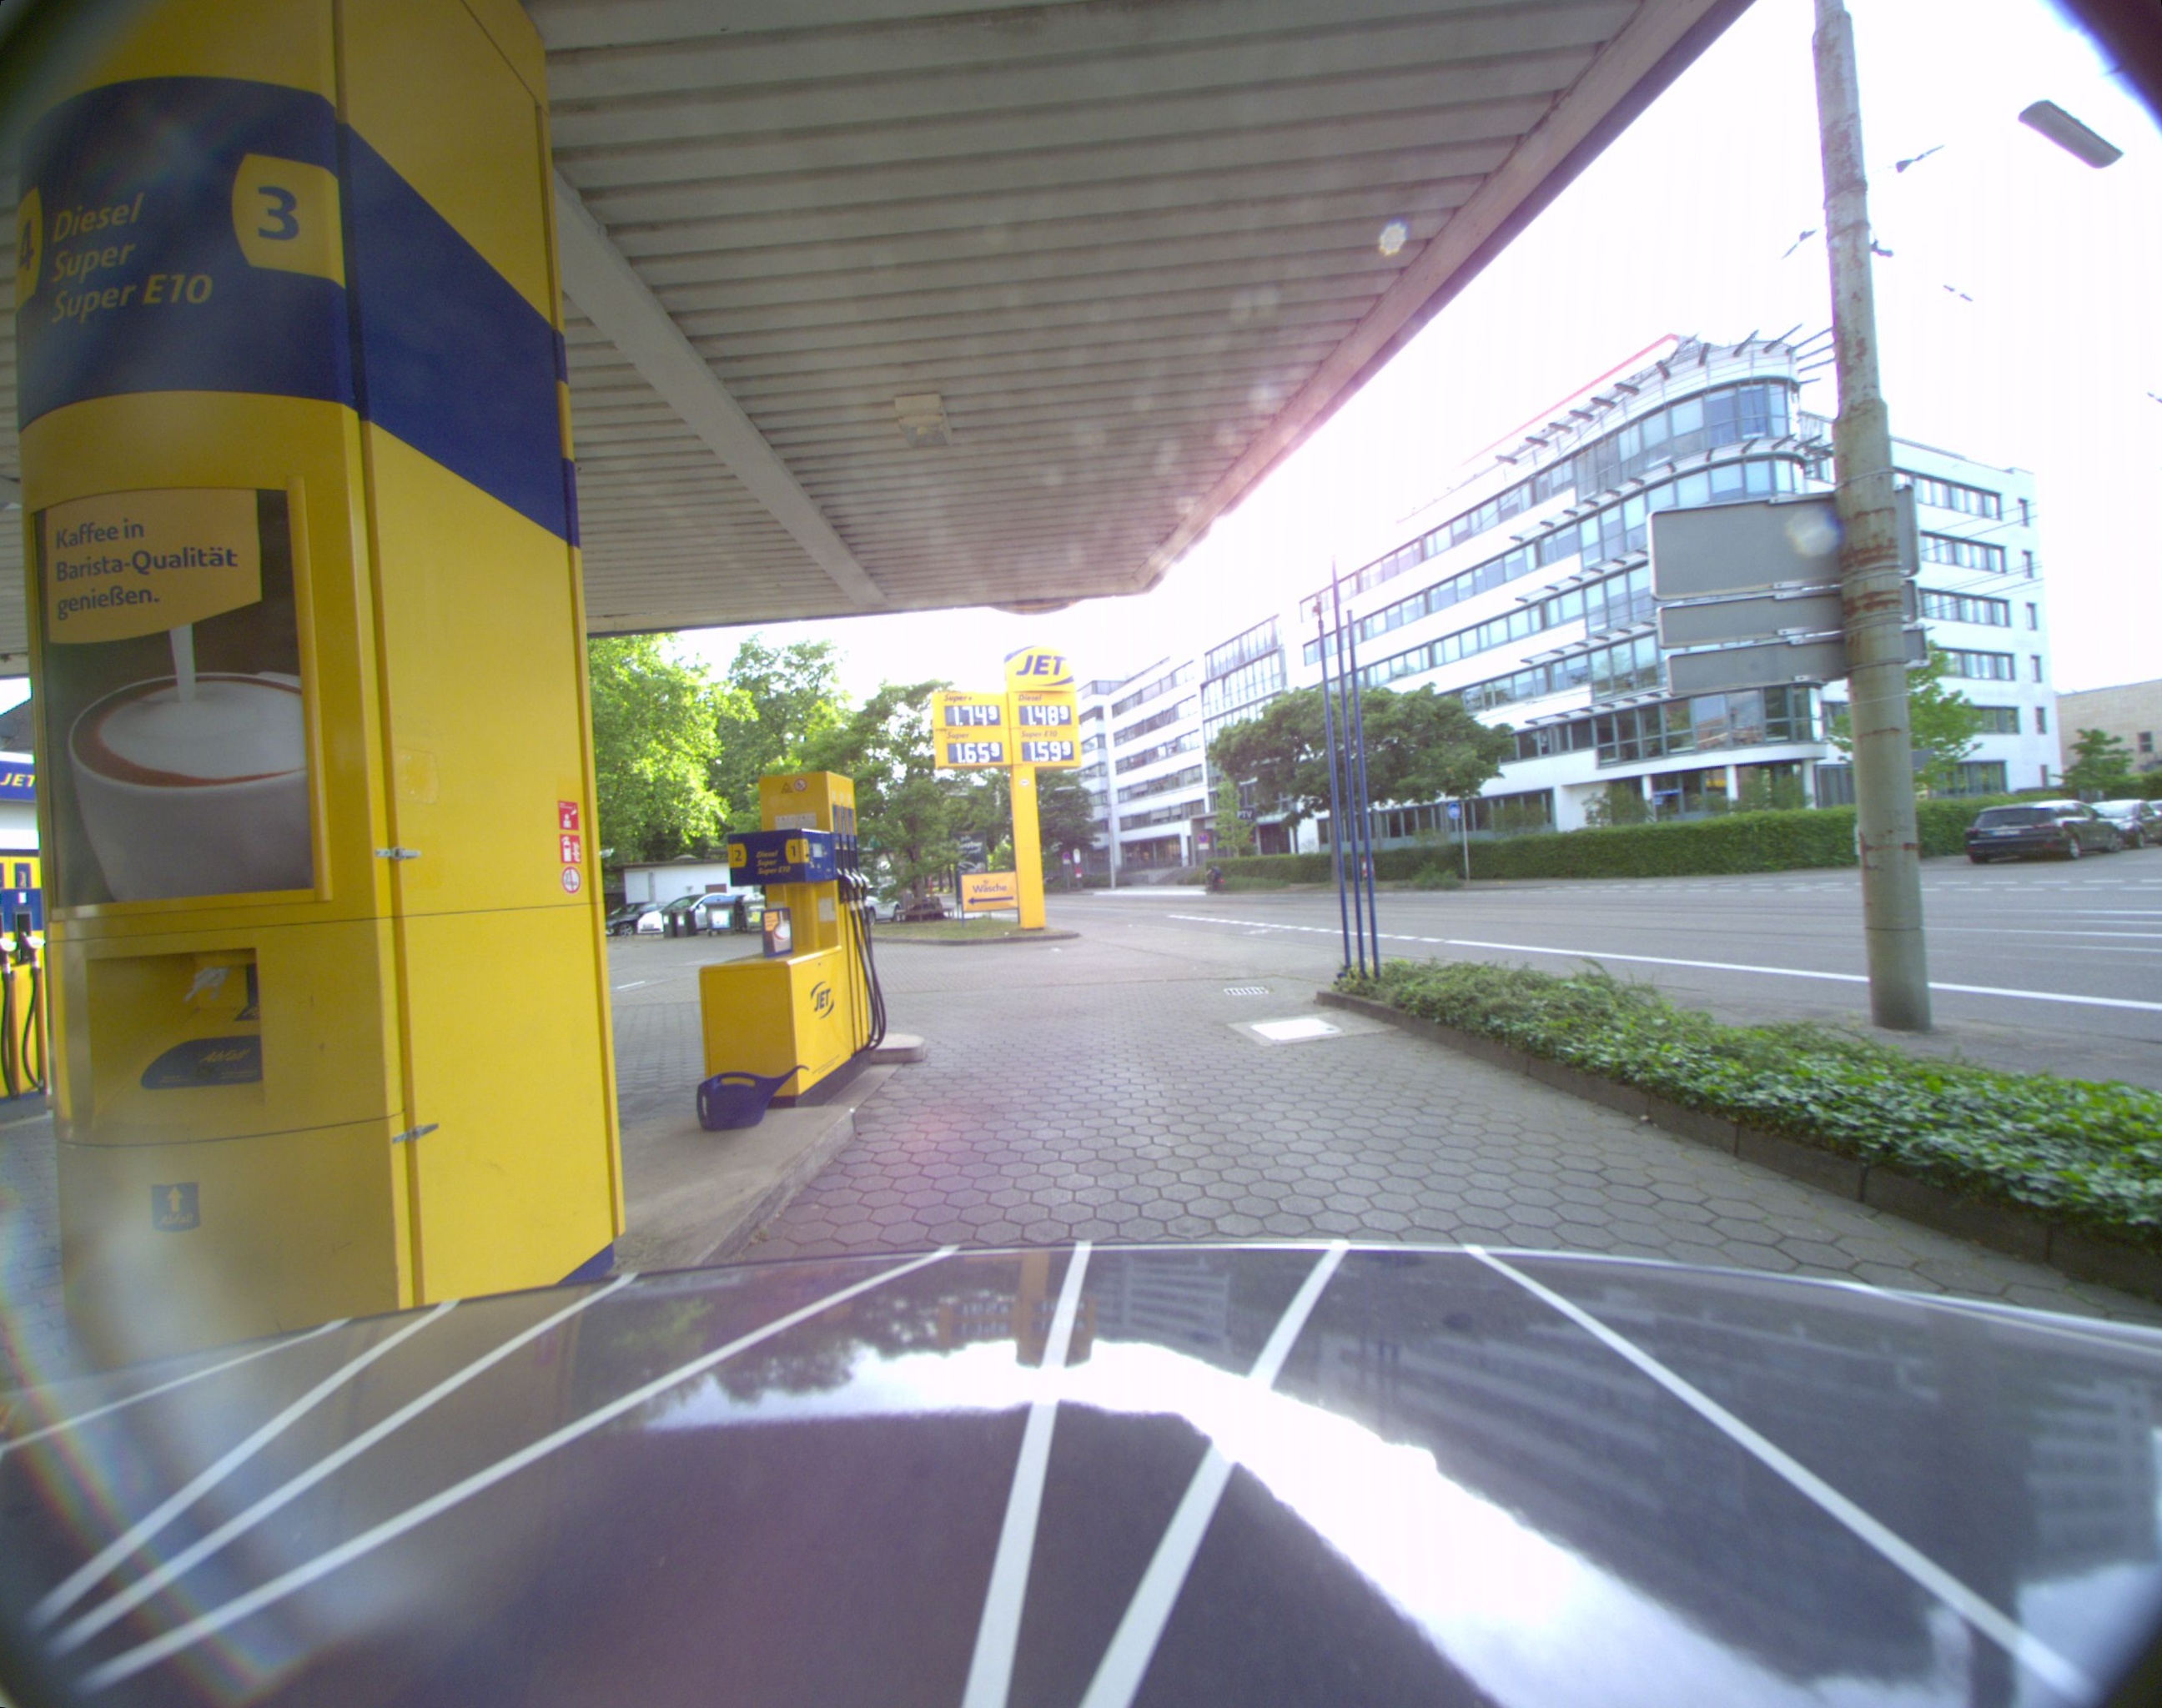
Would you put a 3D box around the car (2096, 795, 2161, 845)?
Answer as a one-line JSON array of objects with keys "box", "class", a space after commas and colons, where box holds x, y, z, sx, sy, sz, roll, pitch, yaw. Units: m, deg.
[{"box": [37.110, -1.253, 26.017, 4.201, 1.568, 1.820, -4, -1, -24], "class": "car"}]

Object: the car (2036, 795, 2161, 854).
[{"box": [32.581, -0.959, 24.068, 4.201, 1.568, 1.820, -4, -1, -24], "class": "car"}]

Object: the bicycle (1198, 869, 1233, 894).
[{"box": [7.215, 1.455, 40.784, 0.792, 1.232, 1.879, -3, 1, -28], "class": "bicycle"}]

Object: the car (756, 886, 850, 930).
[{"box": [-11.741, 2.264, 32.462, 1.823, 1.575, 4.200, -4, -2, 10], "class": "car"}]

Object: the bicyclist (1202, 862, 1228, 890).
[{"box": [7.184, 1.169, 40.790, 0.792, 1.443, 1.173, -3, 1, -28], "class": "bicyclist"}]

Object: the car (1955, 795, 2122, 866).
[{"box": [27.424, -0.669, 21.757, 4.397, 1.678, 1.820, -4, -1, -24], "class": "car"}]

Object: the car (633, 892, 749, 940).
[{"box": [-15.384, 2.412, 30.250, 1.823, 1.575, 4.200, -4, -2, 10], "class": "car"}]

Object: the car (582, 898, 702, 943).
[{"box": [-17.529, 2.630, 30.605, 1.823, 1.426, 4.200, -4, -2, 10], "class": "car"}]

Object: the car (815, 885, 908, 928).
[{"box": [-8.651, 2.046, 30.375, 1.823, 1.449, 4.200, -4, -2, 10], "class": "car"}]
